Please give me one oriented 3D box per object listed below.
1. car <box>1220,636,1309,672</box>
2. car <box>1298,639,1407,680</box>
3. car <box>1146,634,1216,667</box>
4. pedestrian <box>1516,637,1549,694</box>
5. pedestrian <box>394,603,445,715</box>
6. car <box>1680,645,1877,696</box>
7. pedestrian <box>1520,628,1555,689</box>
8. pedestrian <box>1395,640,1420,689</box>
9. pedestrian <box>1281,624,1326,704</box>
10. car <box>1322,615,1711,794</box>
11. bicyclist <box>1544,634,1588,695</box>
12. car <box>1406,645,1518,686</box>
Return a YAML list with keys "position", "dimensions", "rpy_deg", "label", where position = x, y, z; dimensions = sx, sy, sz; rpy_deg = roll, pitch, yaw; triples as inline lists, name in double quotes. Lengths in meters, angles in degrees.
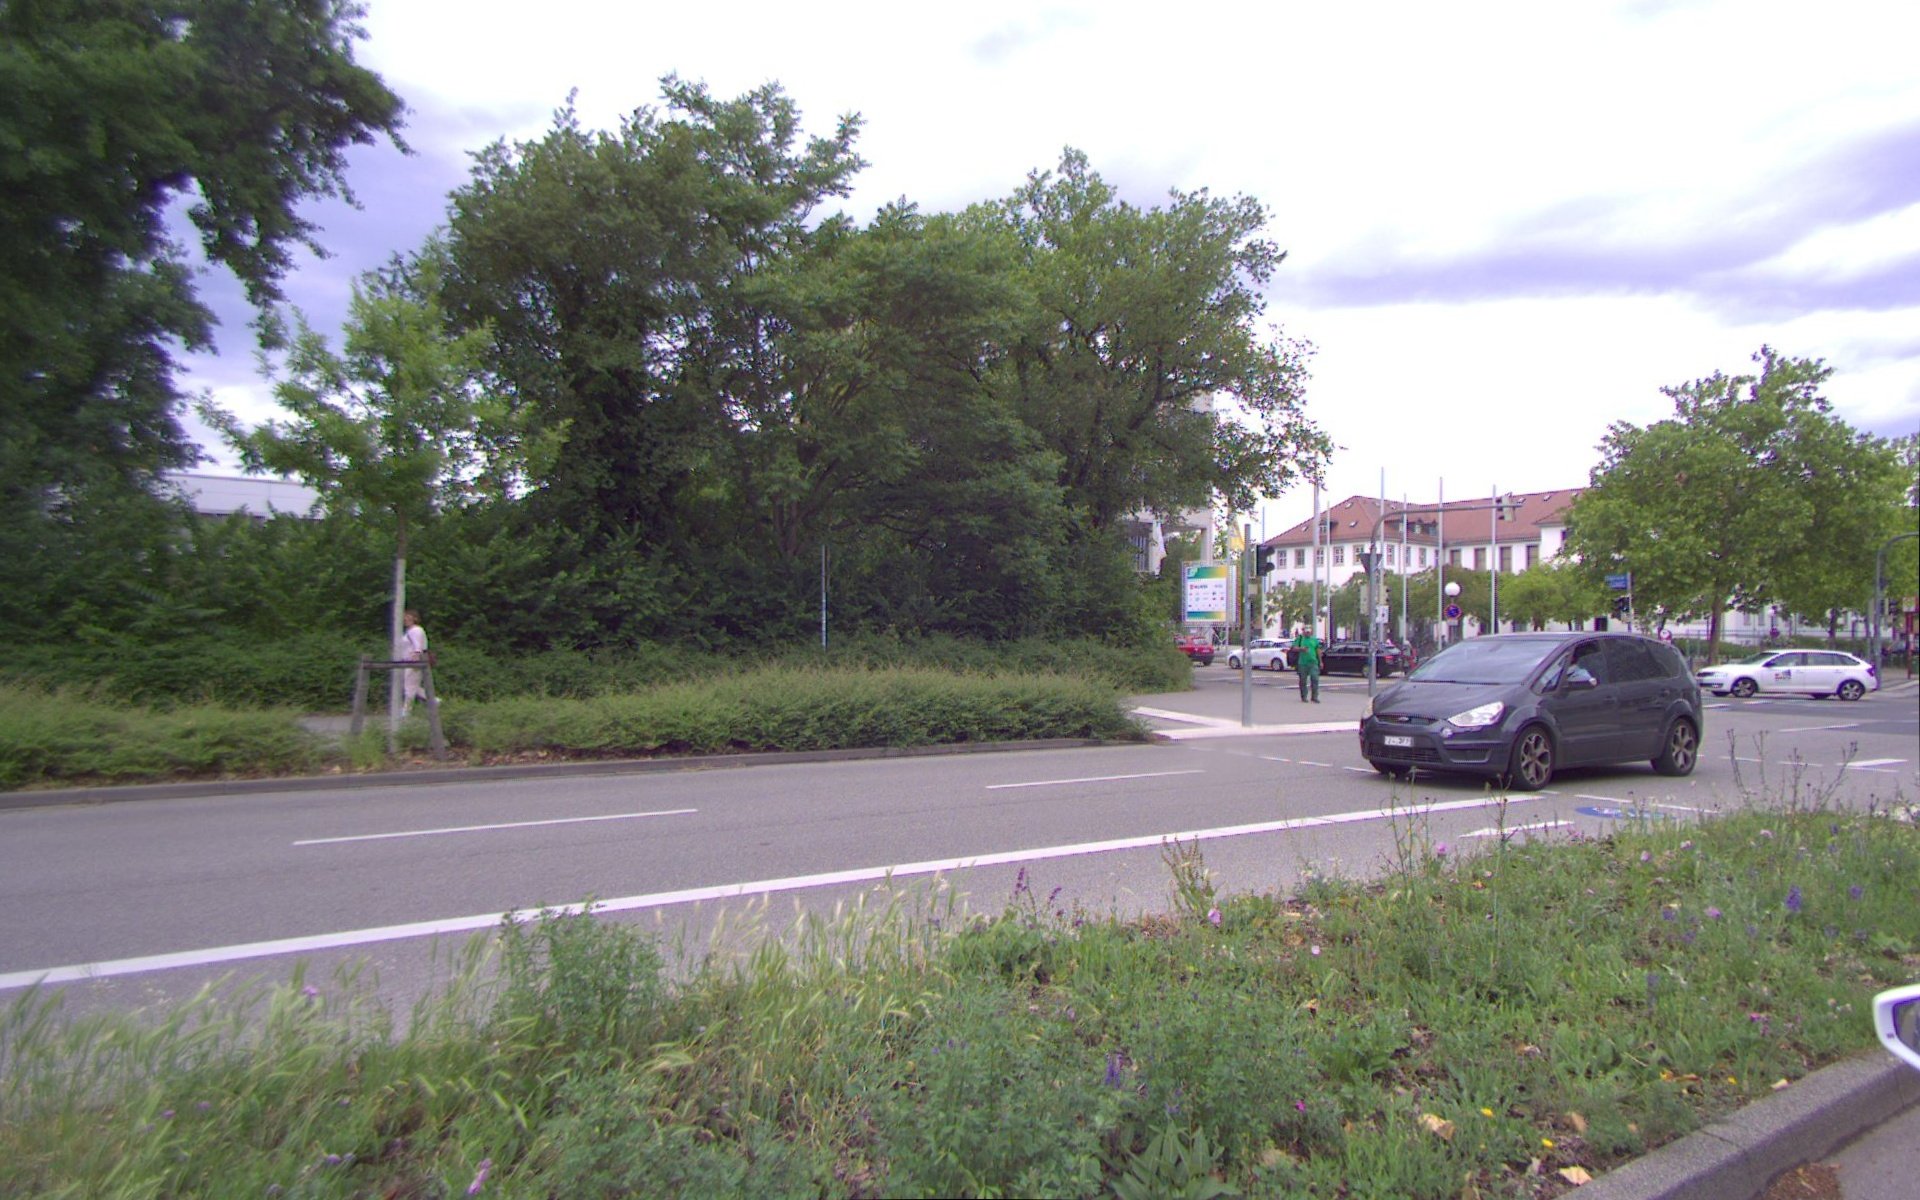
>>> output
- position: [14.386, 2.526, 47.587]
  dimensions: [1.667, 1.560, 3.857]
  rpy_deg: [-1, 0, -32]
  label: "car"
- position: [16.642, 2.494, 42.693]
  dimensions: [4.006, 1.472, 1.613]
  rpy_deg: [-2, 3, 43]
  label: "car"
- position: [11.342, 2.553, 51.733]
  dimensions: [1.547, 1.499, 3.322]
  rpy_deg: [1, 0, -36]
  label: "car"
- position: [16.584, 1.897, 29.098]
  dimensions: [0.777, 1.578, 0.699]
  rpy_deg: [1, -4, 26]
  label: "pedestrian"
- position: [-8.235, 0.889, 15.300]
  dimensions: [0.663, 1.657, 0.697]
  rpy_deg: [1, -3, -30]
  label: "pedestrian"
- position: [24.093, 2.070, 29.745]
  dimensions: [4.142, 1.450, 1.712]
  rpy_deg: [-1, -3, 14]
  label: "car"
- position: [17.623, 1.785, 30.646]
  dimensions: [0.829, 1.761, 0.828]
  rpy_deg: [0, -6, 36]
  label: "pedestrian"
- position: [14.492, 2.091, 32.519]
  dimensions: [0.563, 1.545, 0.846]
  rpy_deg: [0, -6, 36]
  label: "pedestrian"
- position: [8.030, 1.481, 23.515]
  dimensions: [0.924, 1.782, 0.876]
  rpy_deg: [2, -1, 16]
  label: "pedestrian"
- position: [6.380, 1.101, 11.444]
  dimensions: [4.347, 1.686, 1.912]
  rpy_deg: [2, -4, -30]
  label: "car"
- position: [16.914, 1.792, 28.033]
  dimensions: [0.951, 1.657, 0.662]
  rpy_deg: [2, -1, -32]
  label: "bicyclist"
- position: [19.617, 2.542, 39.364]
  dimensions: [1.548, 1.240, 3.630]
  rpy_deg: [-7, 4, -35]
  label: "car"
